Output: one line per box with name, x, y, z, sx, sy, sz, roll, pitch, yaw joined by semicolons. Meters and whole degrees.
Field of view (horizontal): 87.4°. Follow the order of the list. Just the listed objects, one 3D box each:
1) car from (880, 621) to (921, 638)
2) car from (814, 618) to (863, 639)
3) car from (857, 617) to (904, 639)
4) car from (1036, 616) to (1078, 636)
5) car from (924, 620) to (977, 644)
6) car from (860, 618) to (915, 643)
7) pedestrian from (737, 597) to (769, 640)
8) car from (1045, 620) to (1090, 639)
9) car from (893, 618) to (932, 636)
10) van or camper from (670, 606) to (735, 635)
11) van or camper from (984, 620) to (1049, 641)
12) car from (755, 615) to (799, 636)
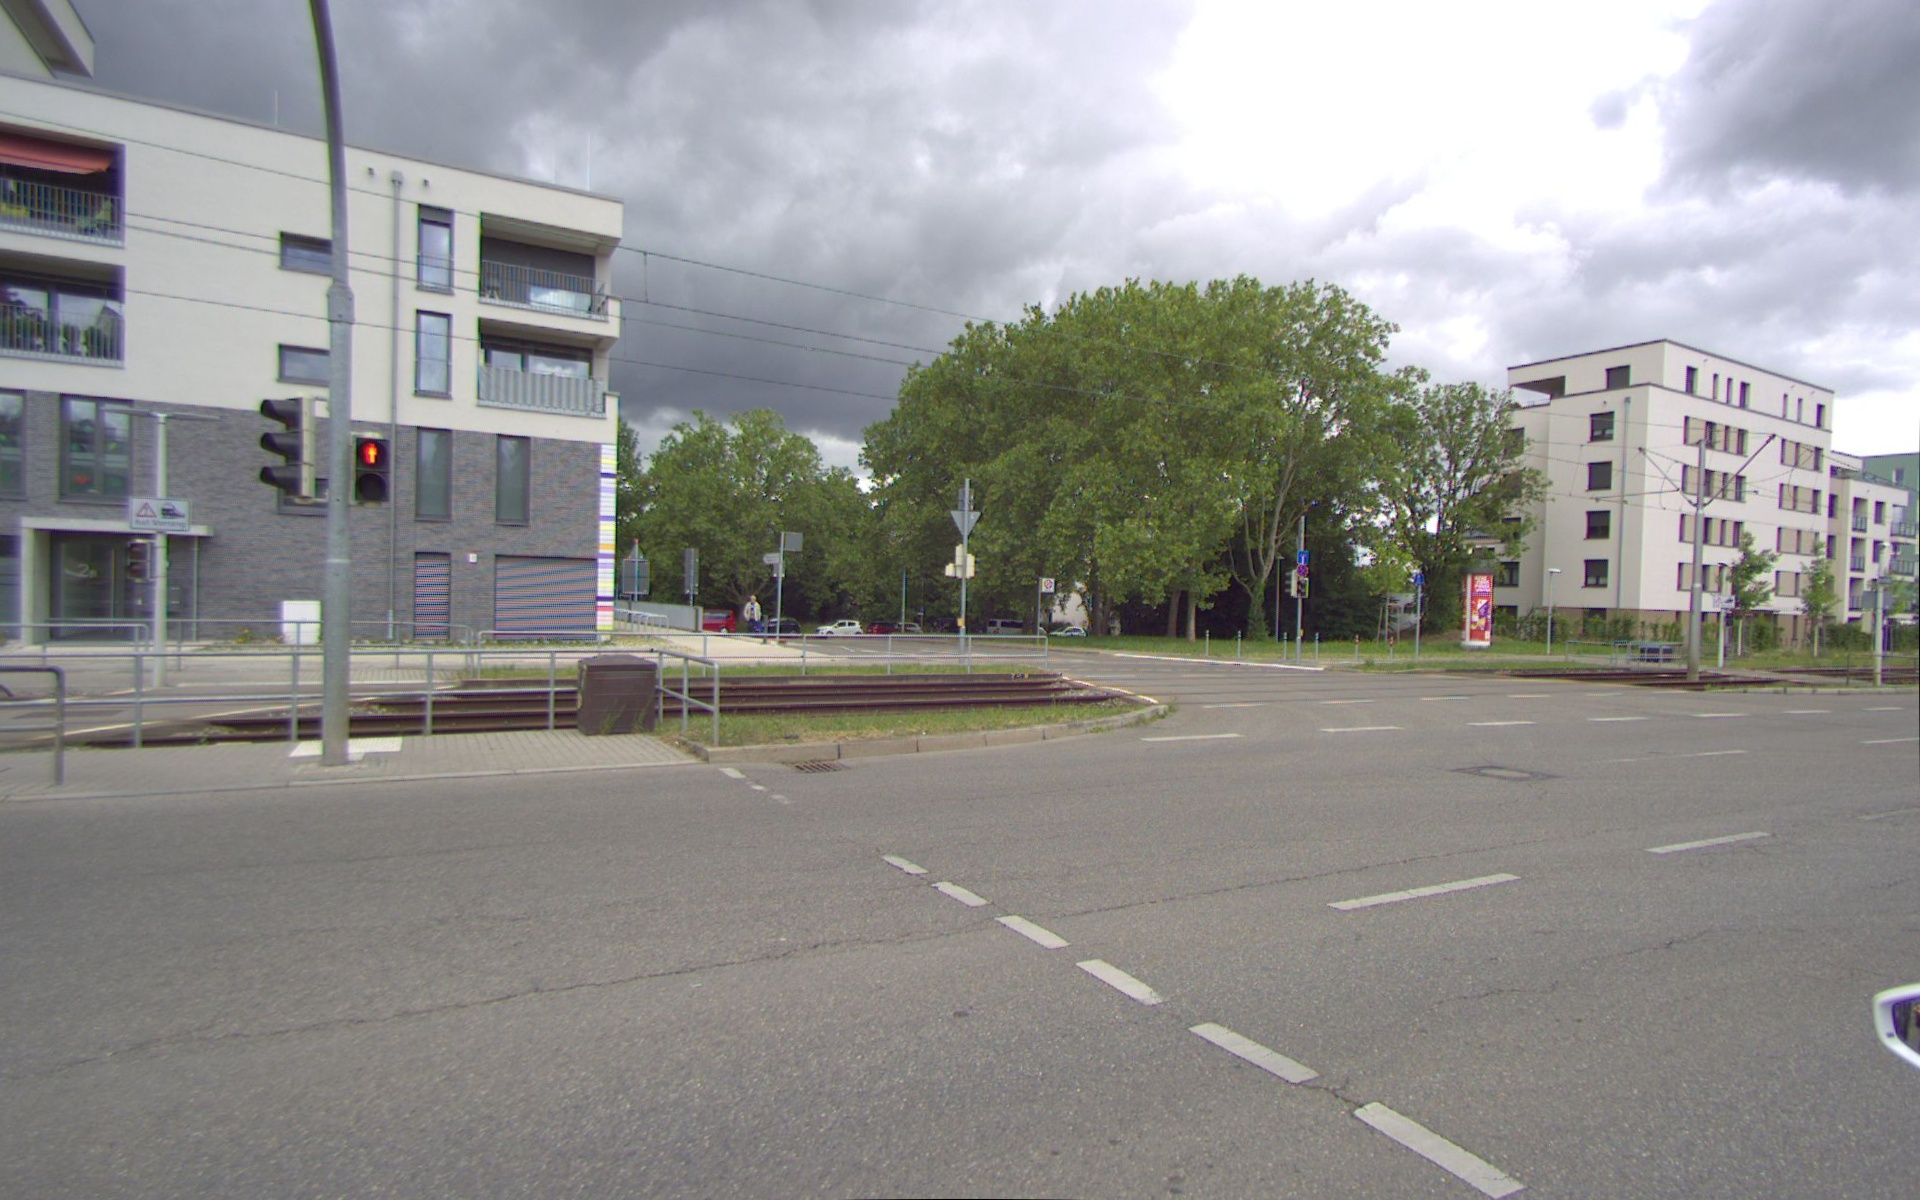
car;-4.923;2.413;82.611;3.094;1.362;1.440;1;0;-22
car;-9.688;2.273;80.061;3.544;1.557;1.864;1;0;-22
car;-6.647;2.331;84.267;3.580;1.684;1.653;2;0;-27
car;9.338;2.498;96.890;3.715;1.752;1.663;2;0;-6
car;-0.747;2.516;78.302;3.741;1.684;1.652;3;0;-30
car;-5.394;2.290;74.874;3.739;1.684;1.652;3;0;-29
pedestrian;-8.349;0.733;40.430;0.981;1.692;0.848;2;0;-31
car;9.646;2.627;90.352;3.767;1.671;1.685;1;0;-32
car;-4.545;2.571;96.575;3.381;1.586;1.665;2;0;17
van or camper;-19.356;1.559;75.541;4.494;2.051;2.037;1;0;-22
van or camper;4.568;2.473;81.128;4.944;1.553;1.851;1;0;-28
car;-14.161;1.980;77.588;3.094;1.522;1.596;1;0;-22
